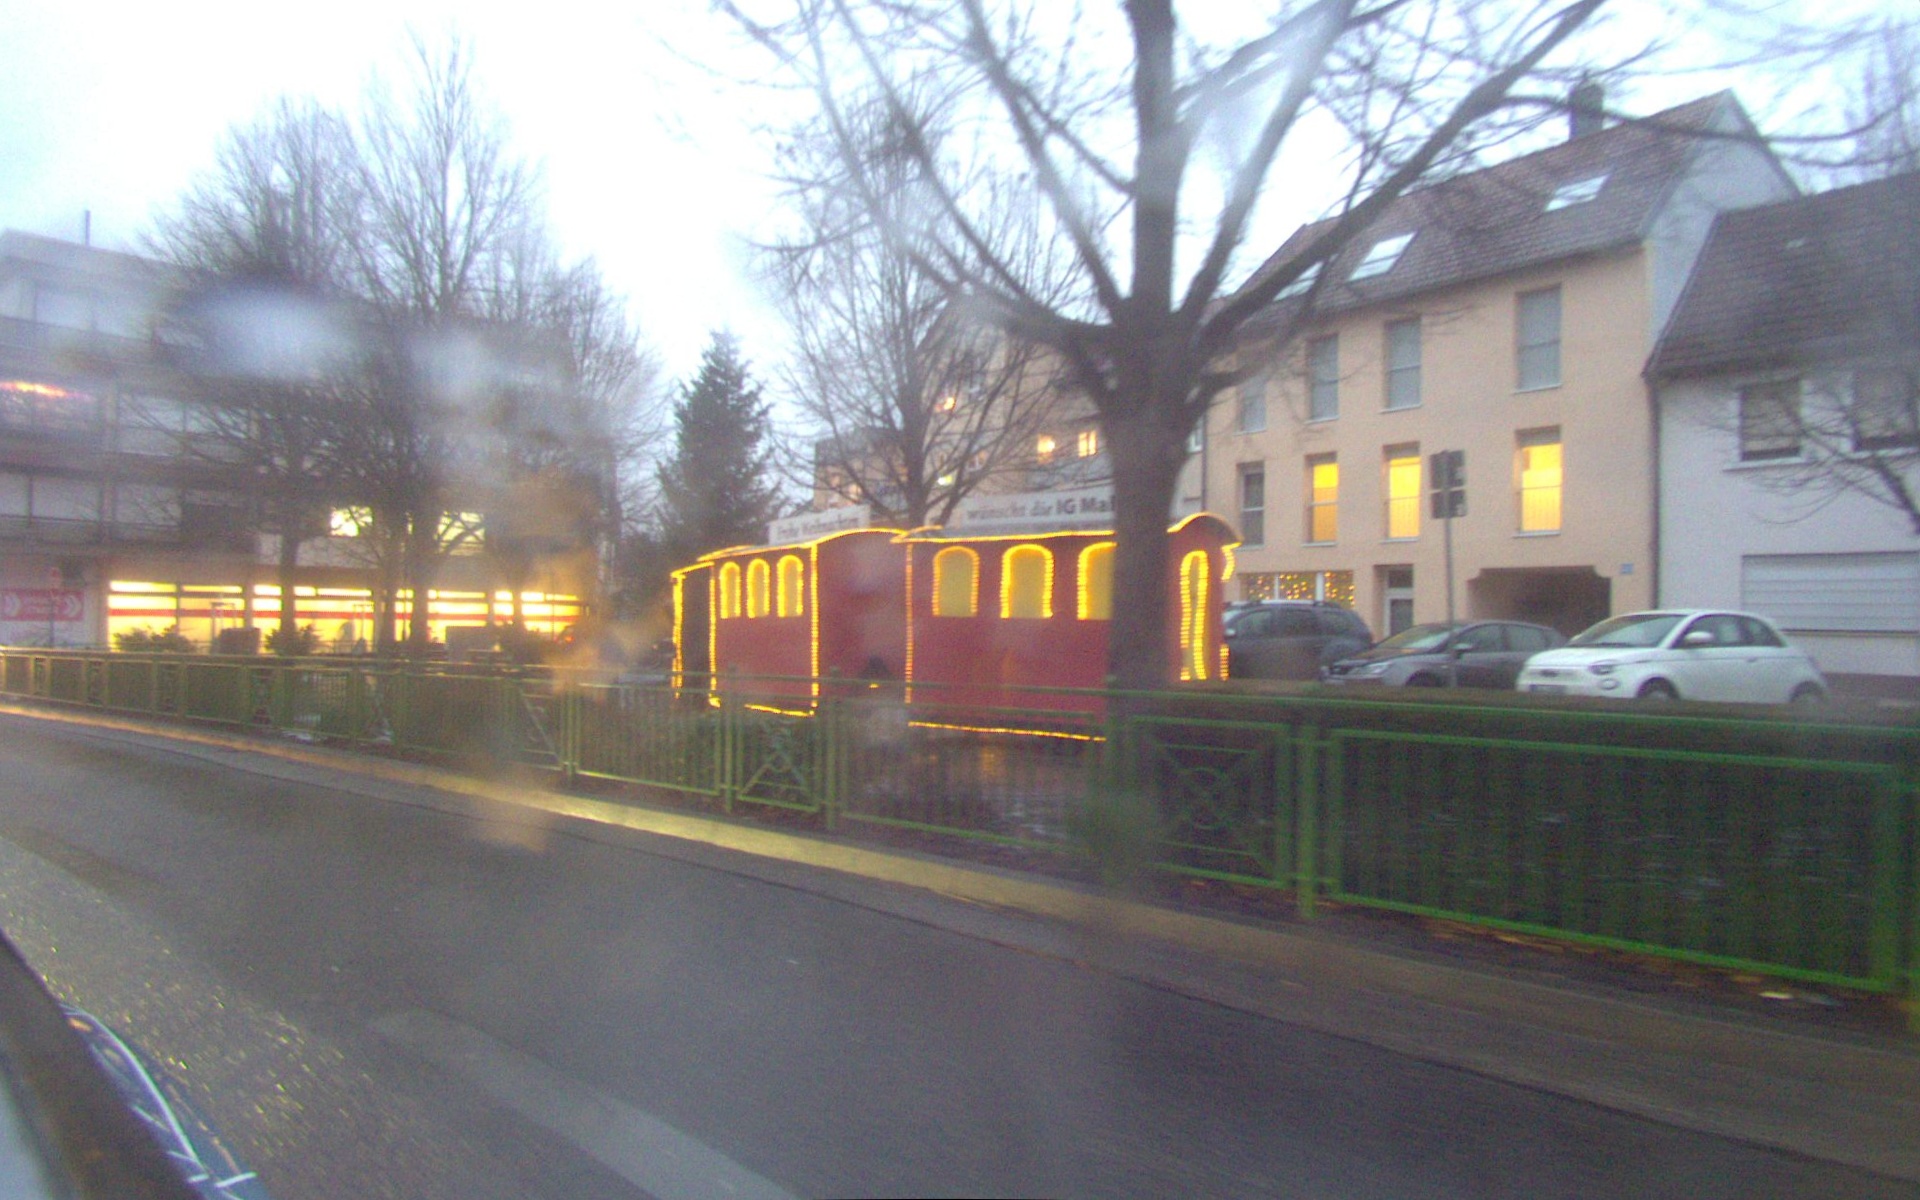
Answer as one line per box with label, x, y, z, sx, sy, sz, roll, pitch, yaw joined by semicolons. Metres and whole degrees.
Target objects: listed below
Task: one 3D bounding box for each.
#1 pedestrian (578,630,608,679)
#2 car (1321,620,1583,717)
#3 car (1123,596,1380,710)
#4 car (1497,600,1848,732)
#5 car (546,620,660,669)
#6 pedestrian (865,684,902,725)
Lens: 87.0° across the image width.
pedestrian;-10.254;1.508;28.255;0.612;1.349;0.568;0;-2;-42
car;6.966;0.922;14.426;3.004;1.229;1.615;-1;-1;-15
car;4.599;0.792;16.115;3.573;1.624;1.615;-1;-1;-15
car;8.689;0.754;12.437;3.427;1.420;1.614;-1;-1;-13
car;-11.955;1.474;33.958;3.260;1.519;1.504;0;-2;-42
pedestrian;-0.954;1.298;12.623;0.361;0.488;0.291;-2;-4;41
